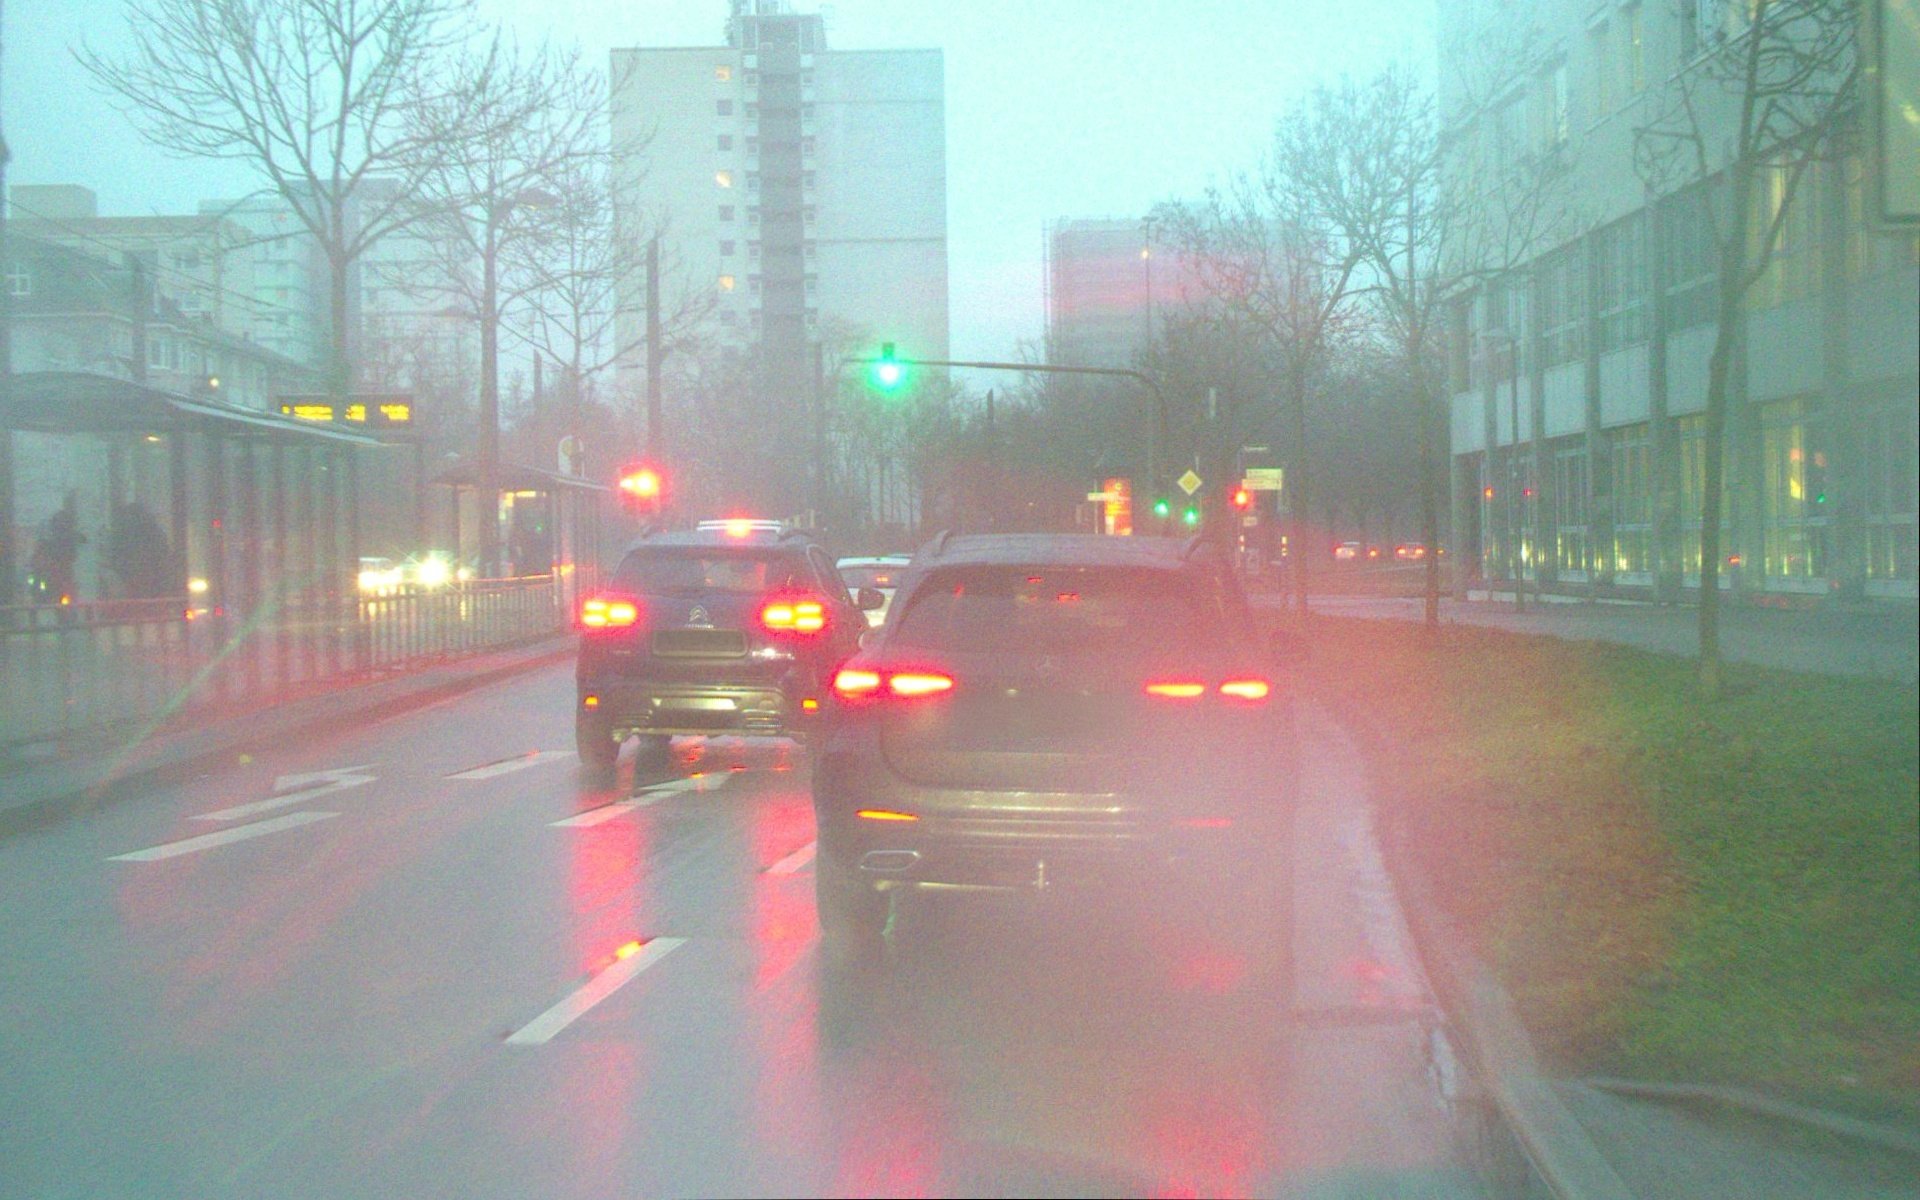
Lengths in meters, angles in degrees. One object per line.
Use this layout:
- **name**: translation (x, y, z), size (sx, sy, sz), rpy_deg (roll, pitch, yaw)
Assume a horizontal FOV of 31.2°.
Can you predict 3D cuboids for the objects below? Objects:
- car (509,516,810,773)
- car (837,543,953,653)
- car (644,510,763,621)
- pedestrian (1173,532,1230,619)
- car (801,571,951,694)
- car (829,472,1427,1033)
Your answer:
- **car**: translation (-2.108, 0.305, 25.242), size (1.993, 1.706, 4.325), rpy_deg (1, 0, -2)
- **car**: translation (-1.204, -0.027, 65.614), size (1.993, 2.007, 4.000), rpy_deg (1, 0, 2)
- **car**: translation (-4.847, -0.668, 65.576), size (1.952, 2.026, 4.883), rpy_deg (0, 1, 0)
- **pedestrian**: translation (5.058, -0.514, 72.035), size (0.797, 1.744, 0.860), rpy_deg (-4, 1, 26)
- **car**: translation (-1.154, 0.440, 48.151), size (1.993, 1.636, 4.022), rpy_deg (1, 0, -1)
- **car**: translation (0.524, 0.549, 14.210), size (1.993, 1.969, 4.069), rpy_deg (1, 0, -4)
